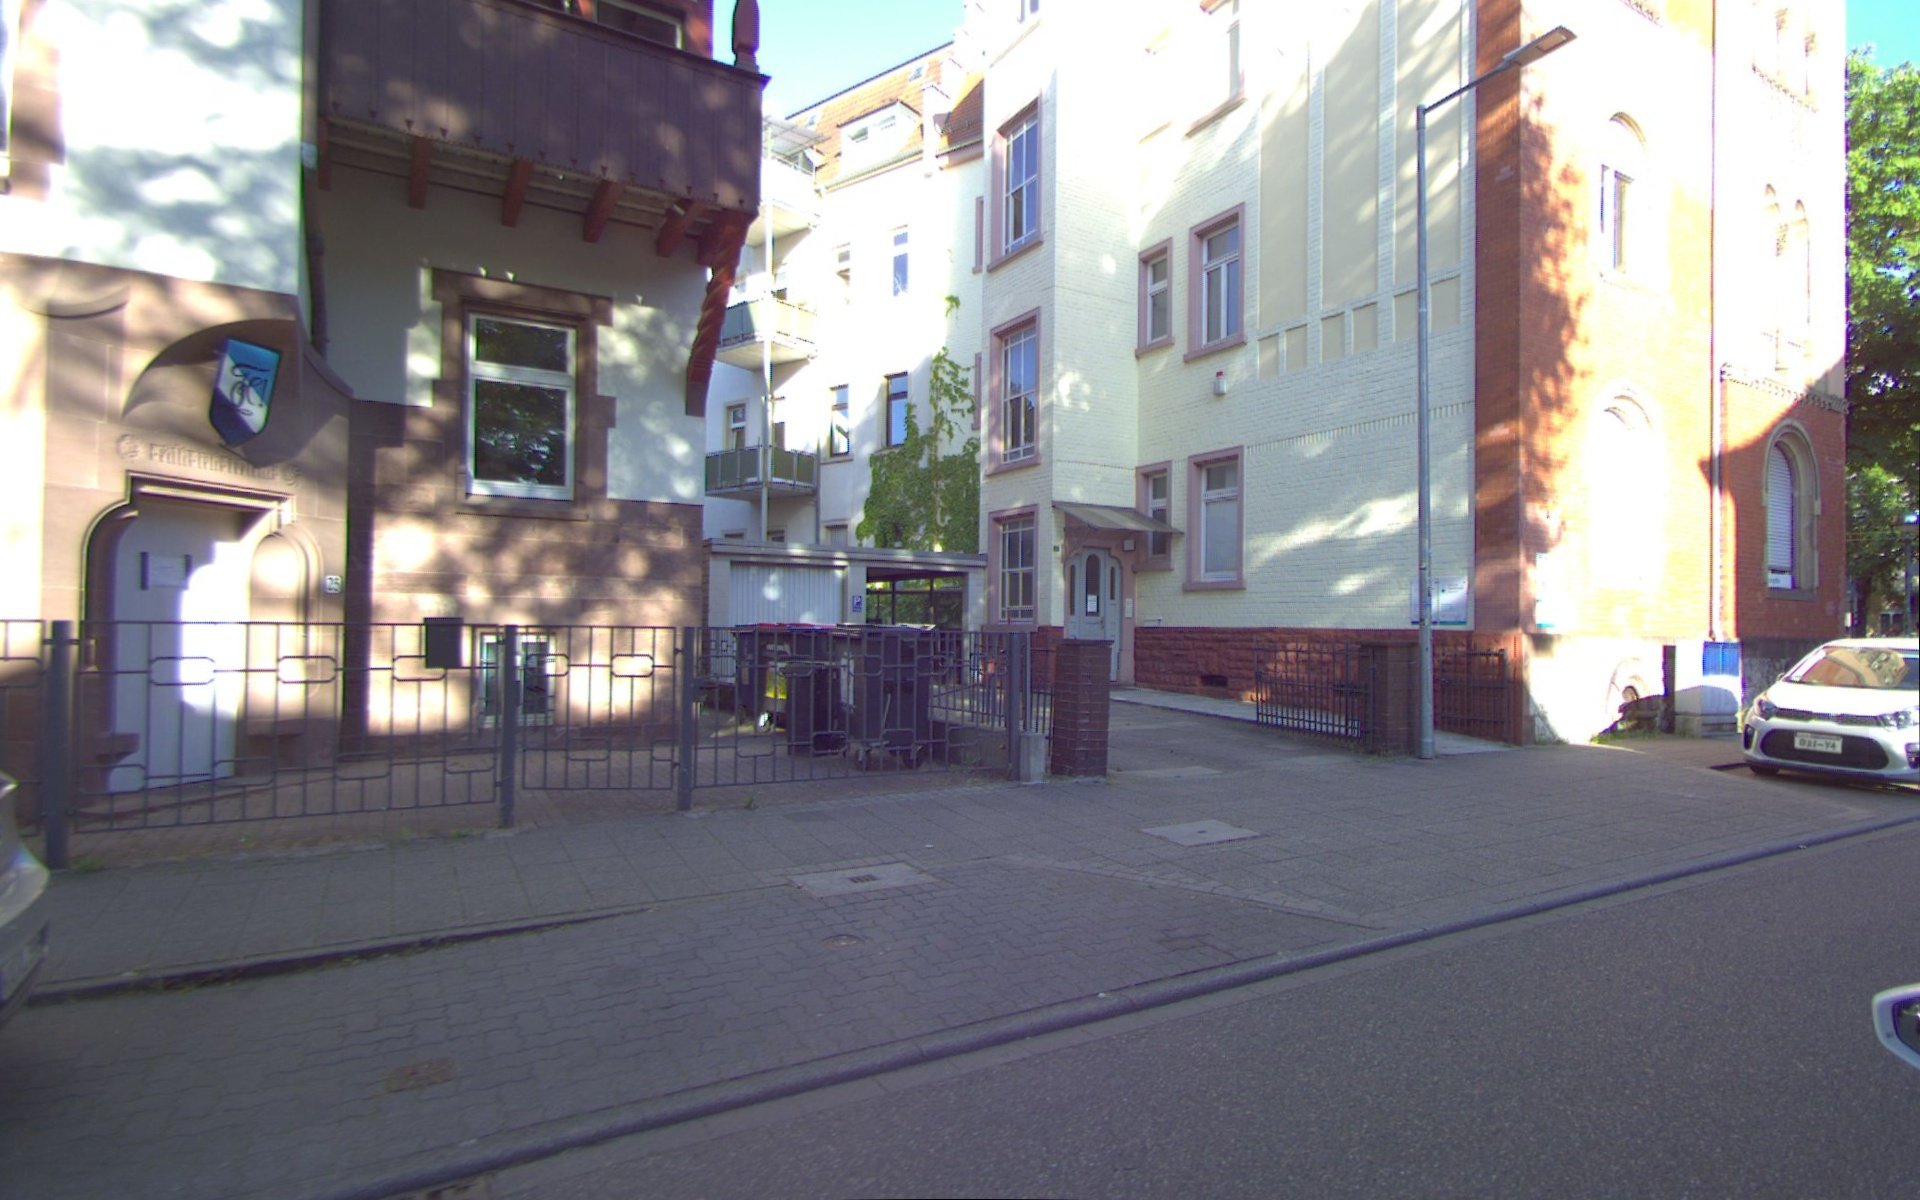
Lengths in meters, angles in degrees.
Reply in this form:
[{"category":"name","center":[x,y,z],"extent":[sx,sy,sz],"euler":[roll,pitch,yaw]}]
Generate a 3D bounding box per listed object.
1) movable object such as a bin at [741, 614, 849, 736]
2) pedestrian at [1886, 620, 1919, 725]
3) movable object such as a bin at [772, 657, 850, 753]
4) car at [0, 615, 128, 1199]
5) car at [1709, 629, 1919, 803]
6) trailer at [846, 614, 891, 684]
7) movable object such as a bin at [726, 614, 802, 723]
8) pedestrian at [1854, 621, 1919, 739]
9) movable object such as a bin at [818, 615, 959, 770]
[{"category":"movable object such as a bin","center":[-1.954,0.838,11.804],"extent":[0.681,1.335,1.370],"euler":[2,-1,-37]},{"category":"pedestrian","center":[15.512,1.155,16.126],"extent":[0.853,1.665,0.860],"euler":[2,-2,-40]},{"category":"movable object such as a bin","center":[-1.467,1.017,9.893],"extent":[0.663,0.890,0.480],"euler":[1,-1,-21]},{"category":"car","center":[-4.547,0.751,2.118],"extent":[4.059,1.486,1.734],"euler":[2,-1,-33]},{"category":"car","center":[9.916,1.123,10.753],"extent":[3.753,1.505,1.697],"euler":[2,0,-31]},{"category":"trailer","center":[-1.759,0.918,18.962],"extent":[0.757,1.234,2.410],"euler":[1,-3,-7]},{"category":"movable object such as a bin","center":[-2.538,0.847,12.941],"extent":[0.623,1.327,1.196],"euler":[1,-1,-28]},{"category":"pedestrian","center":[13.246,1.114,14.286],"extent":[0.846,1.626,0.596],"euler":[2,-2,-33]},{"category":"movable object such as a bin","center":[-0.703,0.806,9.374],"extent":[0.954,1.316,1.374],"euler":[1,-1,-20]}]
